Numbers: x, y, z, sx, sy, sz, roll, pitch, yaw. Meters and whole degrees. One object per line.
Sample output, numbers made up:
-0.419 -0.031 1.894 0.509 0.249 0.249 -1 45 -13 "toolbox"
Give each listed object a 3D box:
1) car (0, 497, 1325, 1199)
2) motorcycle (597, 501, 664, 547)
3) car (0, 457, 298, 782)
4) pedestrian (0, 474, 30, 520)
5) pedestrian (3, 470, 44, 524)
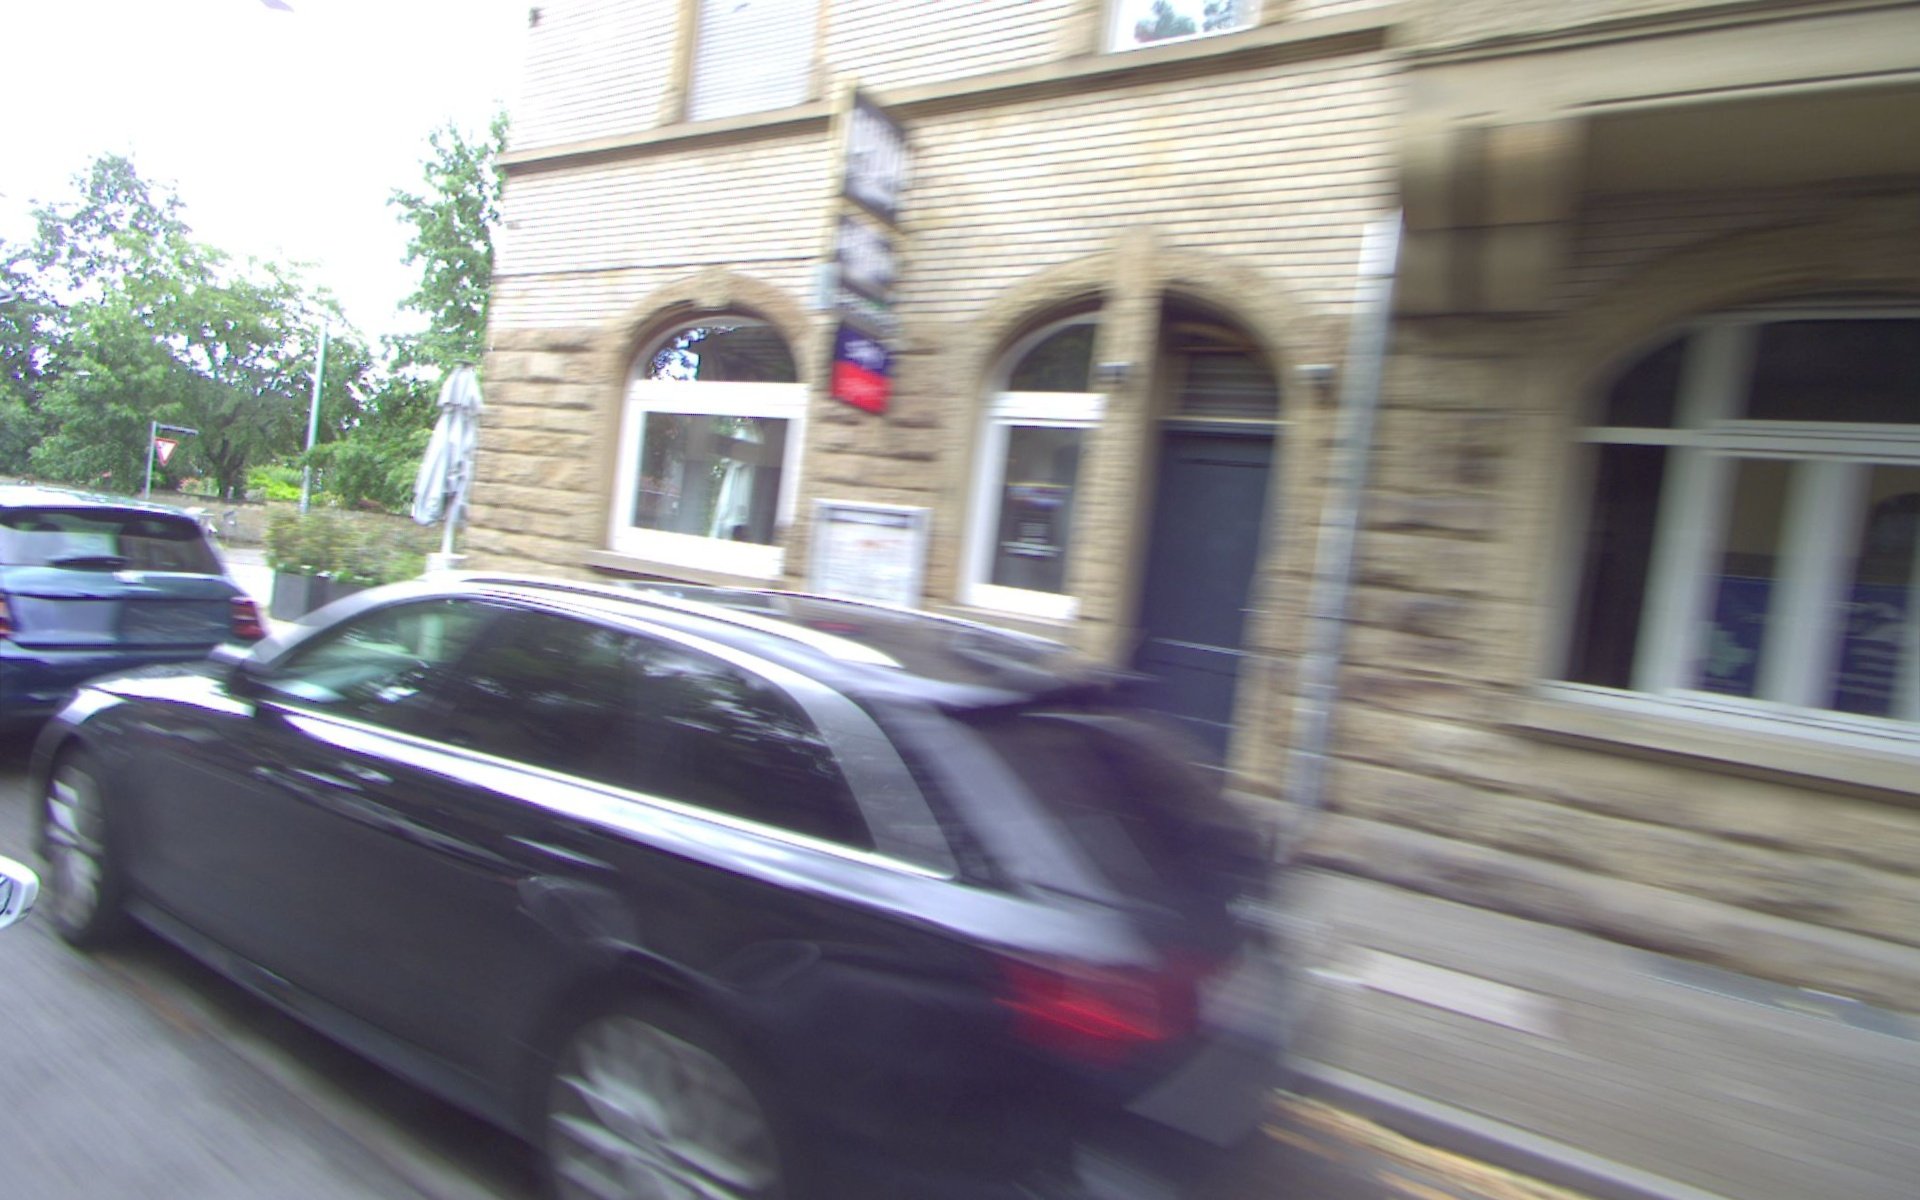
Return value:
-1.419 0.597 3.459 4.694 1.482 1.740 7 2 30 "car"
-10.969 -2.511 33.527 1.988 1.183 0.554 9 -2 -45 "motorcycle"
-6.037 -0.043 6.433 3.593 1.631 1.566 7 1 32 "car"
-35.094 -3.823 37.333 0.564 1.607 0.581 6 4 3 "pedestrian"
-32.913 -3.596 35.364 0.649 1.756 0.711 7 1 -1 "pedestrian"
